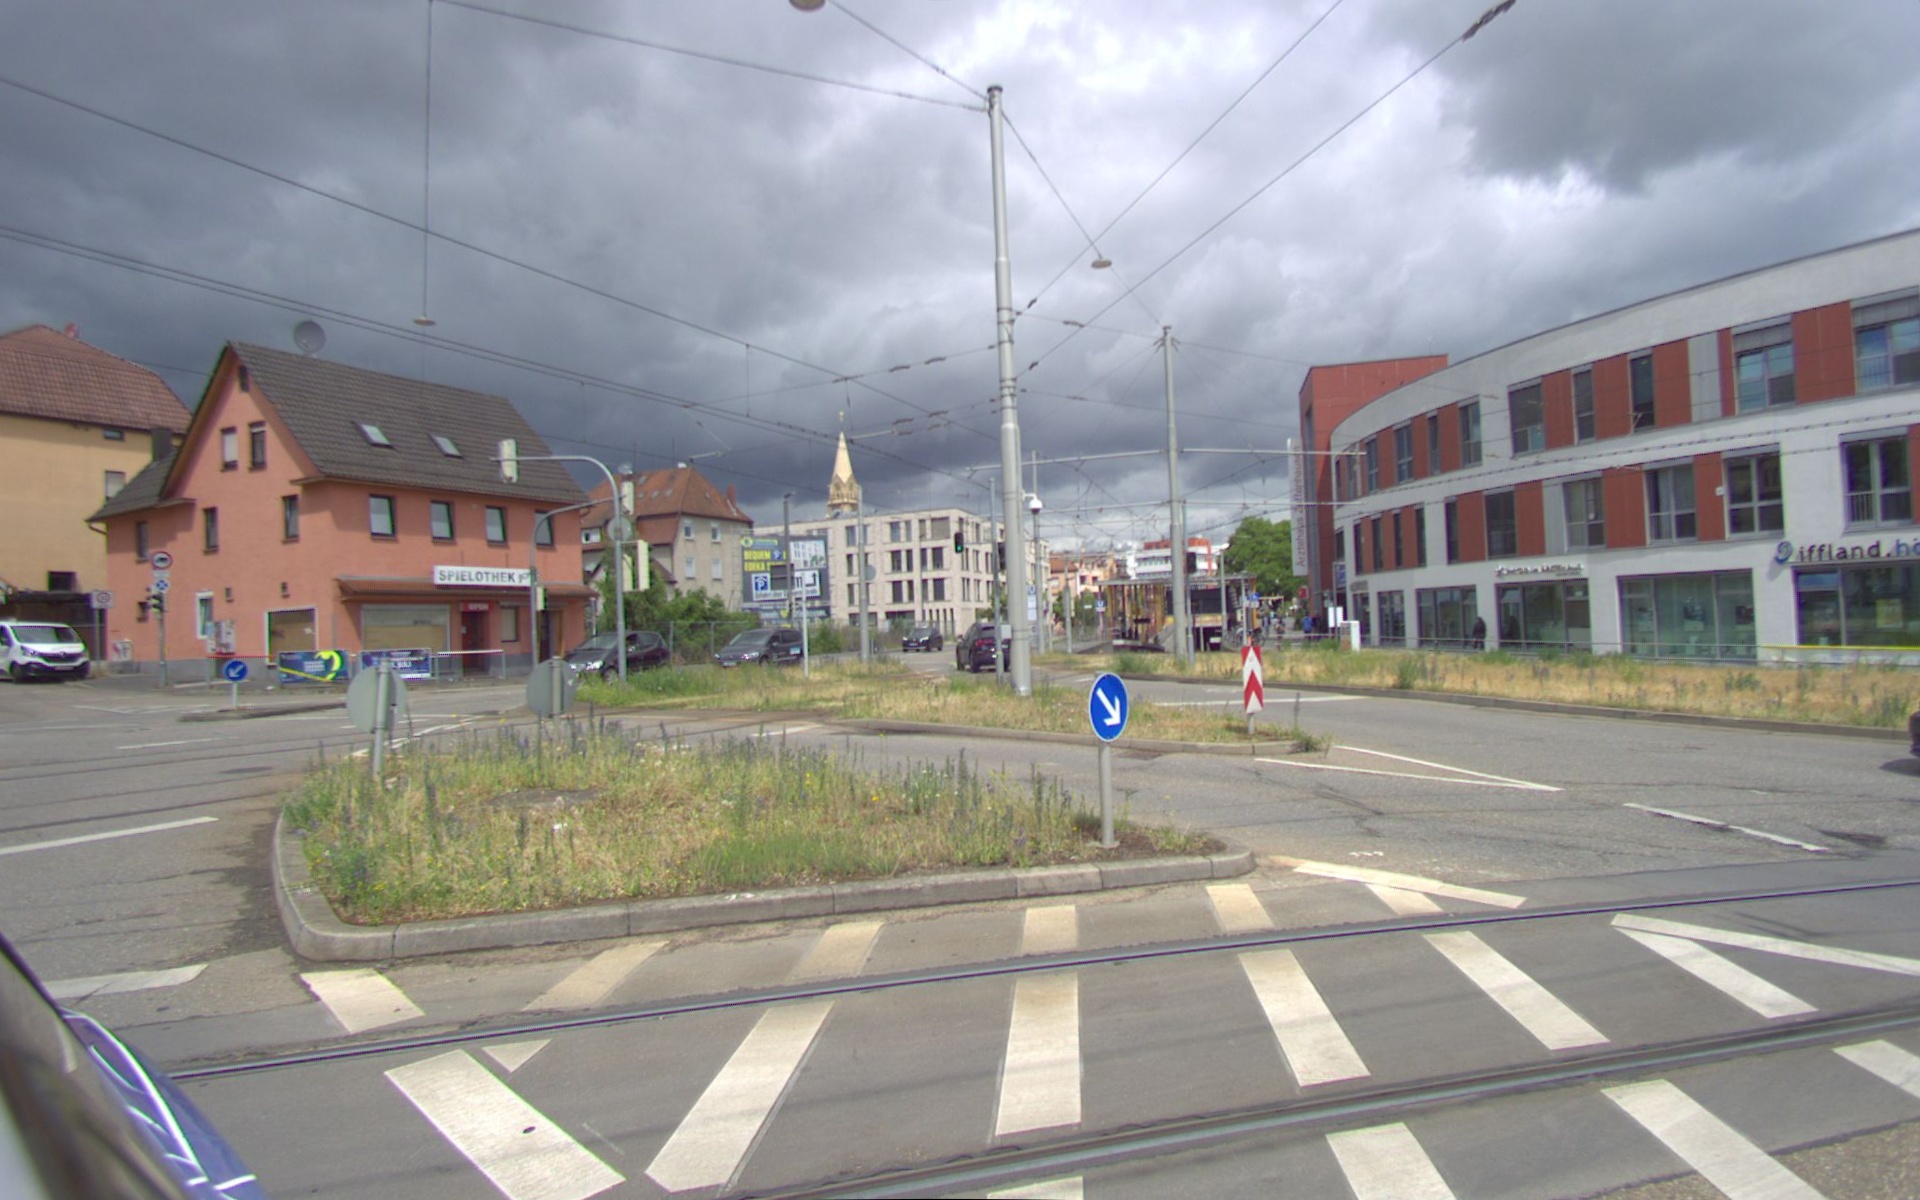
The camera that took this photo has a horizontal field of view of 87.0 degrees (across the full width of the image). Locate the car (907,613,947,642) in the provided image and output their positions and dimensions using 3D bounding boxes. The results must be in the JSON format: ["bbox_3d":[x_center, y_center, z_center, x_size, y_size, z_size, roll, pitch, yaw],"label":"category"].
[{"bbox_3d":[-2.062,1.693,64.051,1.976,1.684,3.992,-3,-1,6],"label":"car"}]

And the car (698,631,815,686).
[{"bbox_3d":[-7.075,2.011,35.662,1.986,1.662,4.388,-3,-1,21],"label":"car"}]

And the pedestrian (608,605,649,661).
[{"bbox_3d":[-12.903,1.274,39.366,1.048,2.164,1.117,-1,-1,30],"label":"pedestrian"}]

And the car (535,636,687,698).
[{"bbox_3d":[-9.599,1.806,28.156,1.870,1.439,3.973,-3,-1,20],"label":"car"}]

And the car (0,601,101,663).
[{"bbox_3d":[-30.883,1.044,33.500,4.637,1.912,2.063,-1,0,26],"label":"car"}]

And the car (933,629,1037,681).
[{"bbox_3d":[0.769,1.820,34.251,1.920,1.581,4.502,2,-2,-21],"label":"car"}]
